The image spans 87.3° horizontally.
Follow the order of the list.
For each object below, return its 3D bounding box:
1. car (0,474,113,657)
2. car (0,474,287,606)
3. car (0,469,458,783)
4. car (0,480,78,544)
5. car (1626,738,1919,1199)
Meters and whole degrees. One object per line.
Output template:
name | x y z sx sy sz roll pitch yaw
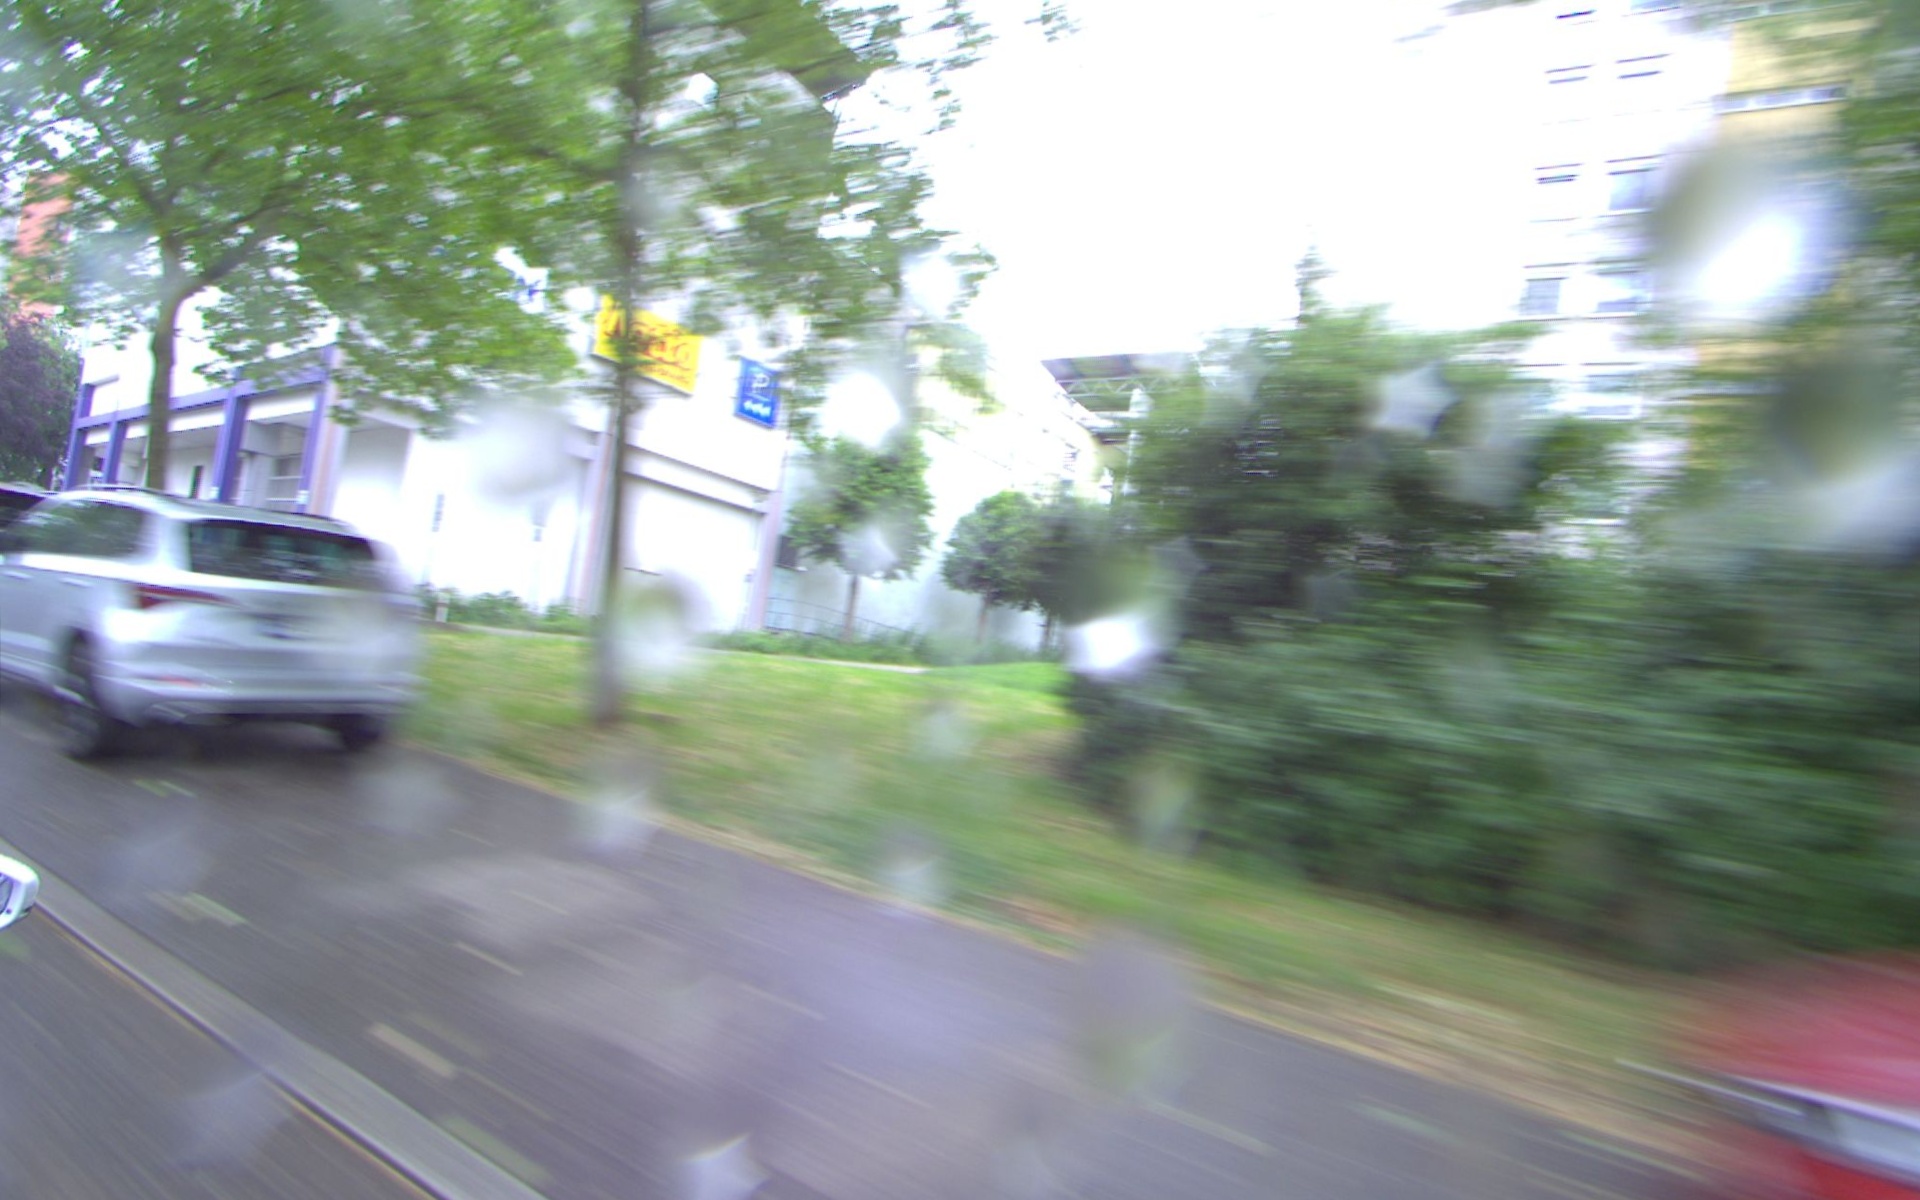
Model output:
car | -10.659 -0.539 10.259 4.300 1.620 1.804 6 -2 33
car | -15.710 -1.090 19.028 1.739 1.698 4.480 8 -3 34
car | -5.678 0.050 7.155 4.183 1.610 1.730 6 -1 32
car | -33.659 -3.335 34.724 1.801 1.777 4.384 9 -3 38
car | 3.435 1.240 1.662 3.682 1.388 1.801 6 -2 31
